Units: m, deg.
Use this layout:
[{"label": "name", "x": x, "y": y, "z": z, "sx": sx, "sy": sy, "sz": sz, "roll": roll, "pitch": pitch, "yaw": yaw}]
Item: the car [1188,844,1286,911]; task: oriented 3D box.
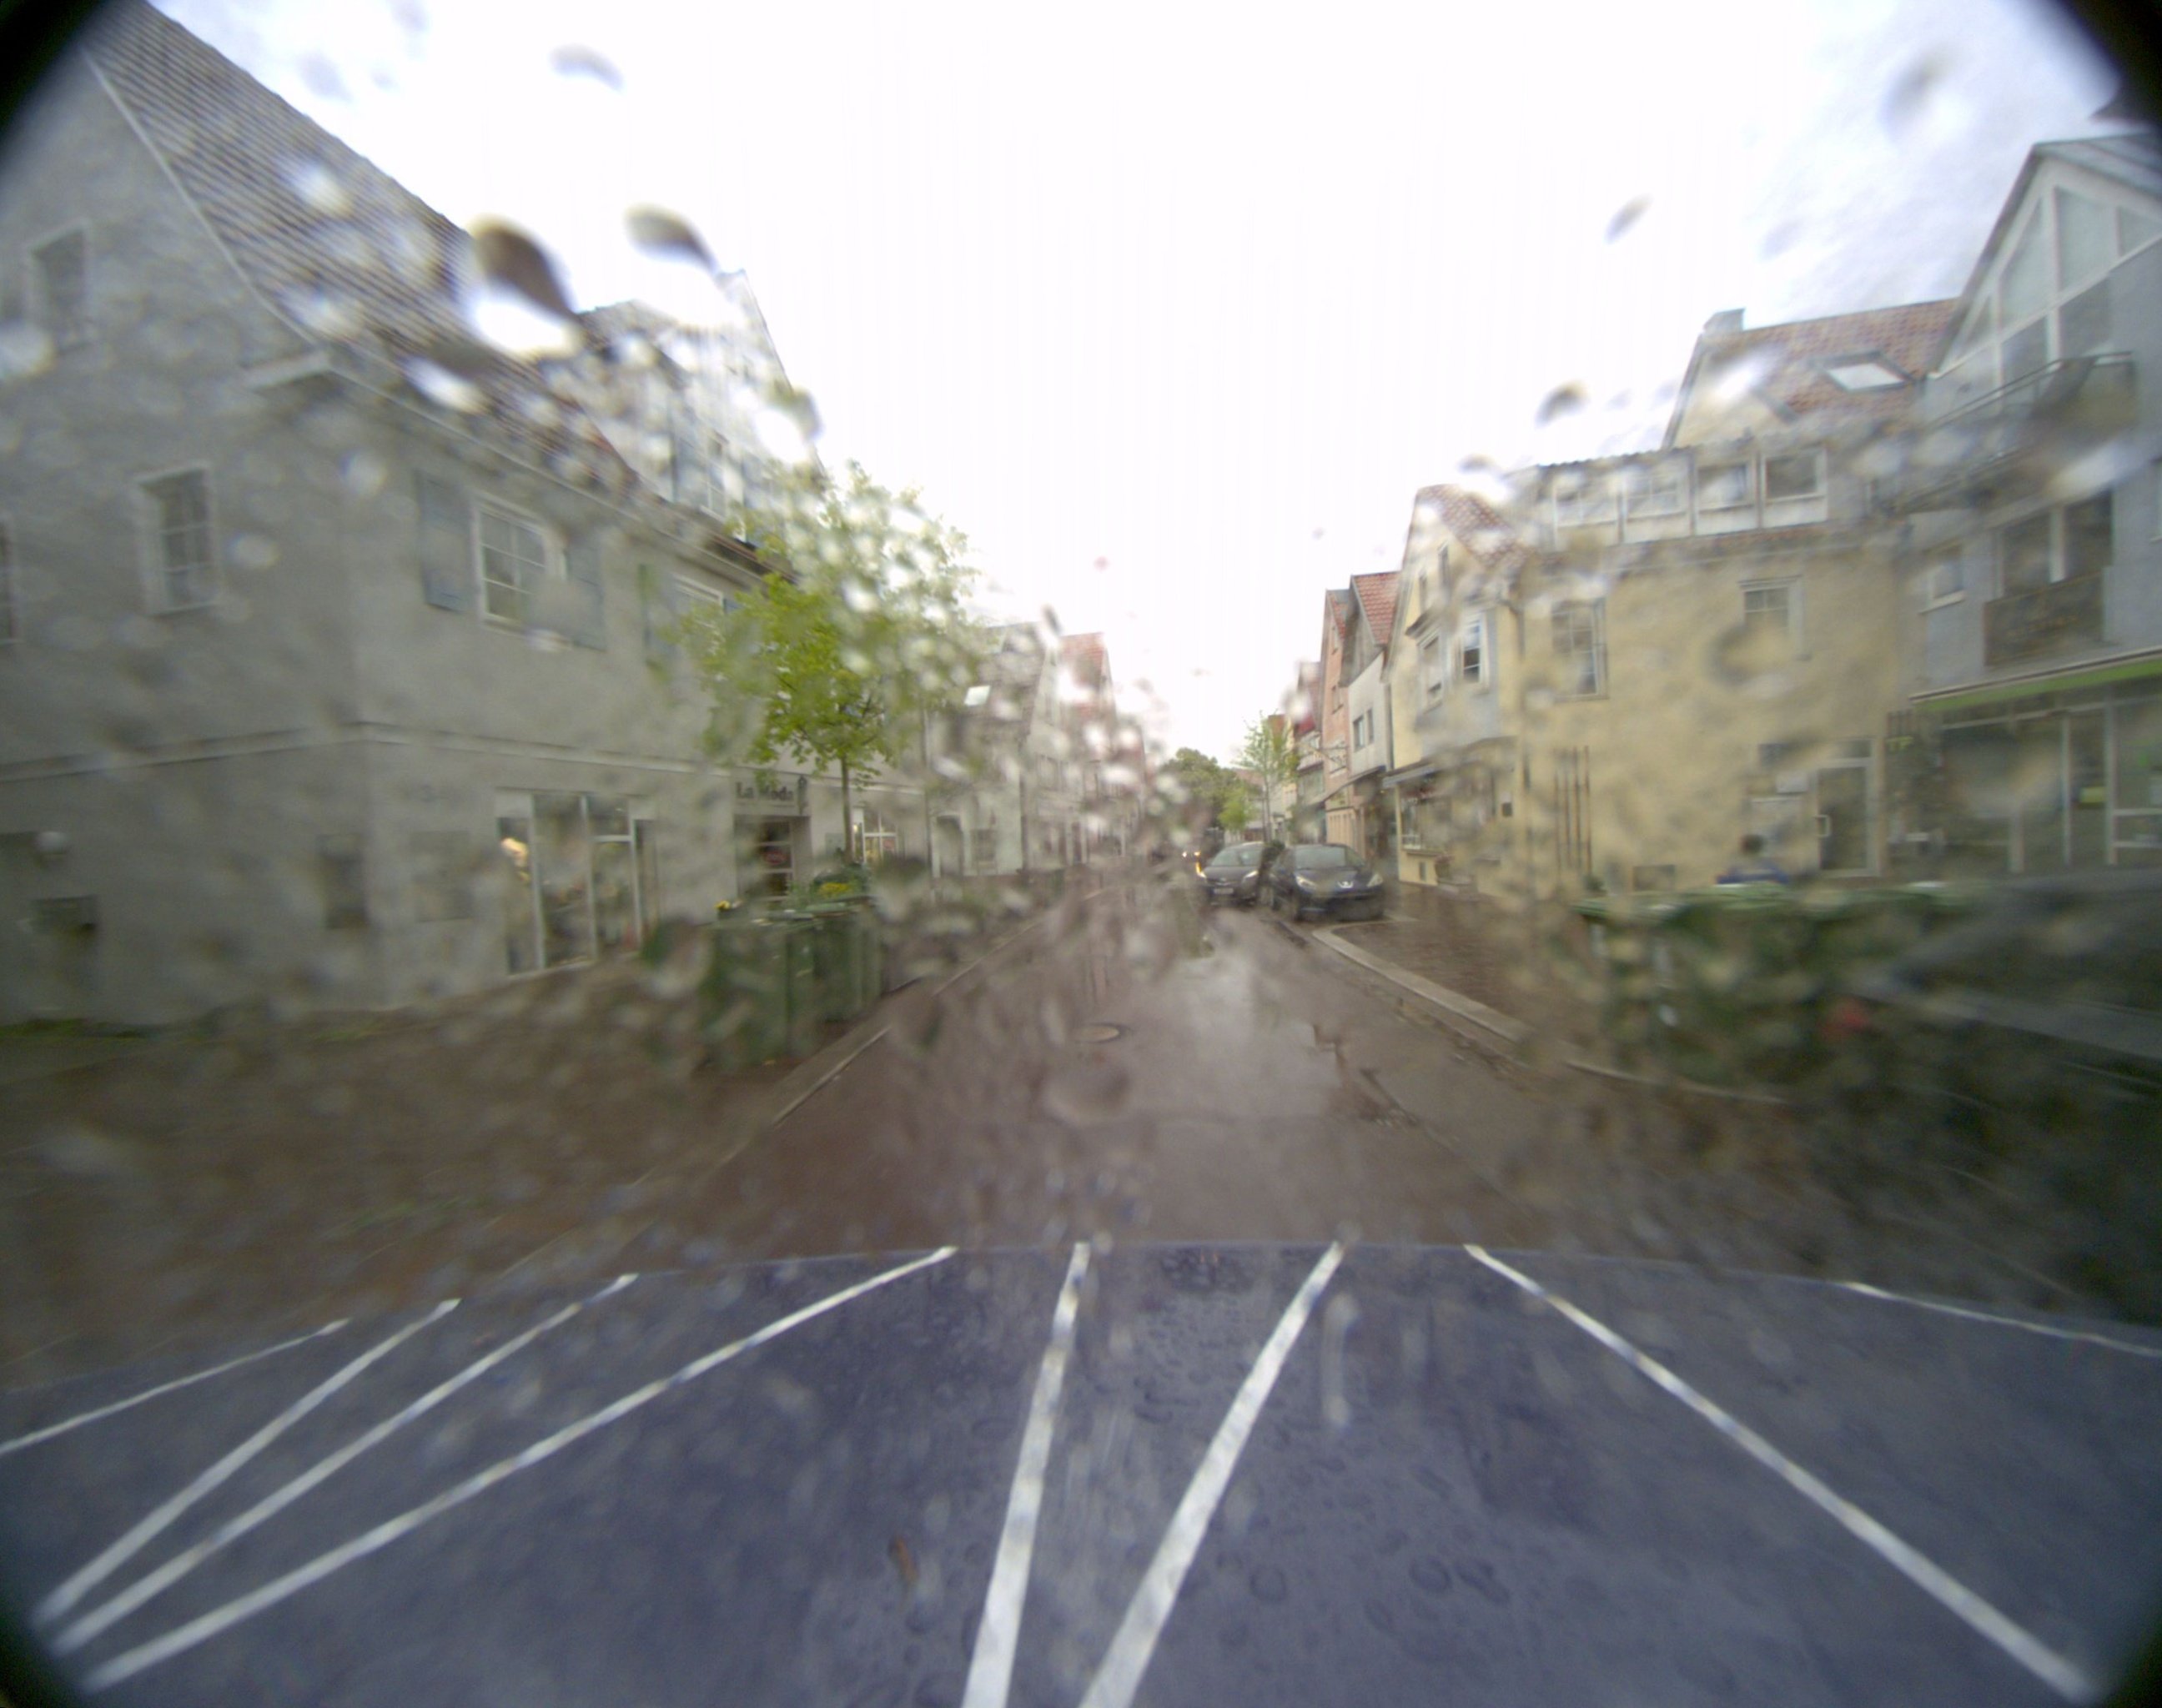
[{"label": "car", "x": 4.202, "y": 0.553, "z": 20.018, "sx": 1.734, "sy": 1.547, "sz": 3.850, "roll": -2, "pitch": 1, "yaw": 23}]

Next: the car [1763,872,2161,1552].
[{"label": "car", "x": 3.352, "y": 0.845, "z": 0.719, "sx": 1.694, "sy": 1.477, "sz": 3.998, "roll": -2, "pitch": 1, "yaw": -3}]

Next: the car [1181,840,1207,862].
[{"label": "car", "x": 9.665, "y": -0.298, "z": 64.650, "sx": 1.997, "sy": 1.740, "sz": 4.002, "roll": -2, "pitch": 1, "yaw": 10}]

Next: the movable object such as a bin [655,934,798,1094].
[{"label": "movable object such as a bin", "x": -2.653, "y": 1.182, "z": 5.739, "sx": 0.765, "sy": 1.068, "sz": 0.537, "roll": -2, "pitch": 1, "yaw": 2}]

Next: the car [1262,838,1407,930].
[{"label": "car", "x": 5.072, "y": 0.521, "z": 15.815, "sx": 1.998, "sy": 1.520, "sz": 4.001, "roll": -5, "pitch": 0, "yaw": 7}]

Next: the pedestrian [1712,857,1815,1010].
[{"label": "pedestrian", "x": 6.082, "y": 0.685, "z": 6.788, "sx": 0.455, "sy": 1.300, "sz": 0.517, "roll": -2, "pitch": 1, "yaw": 8}]
